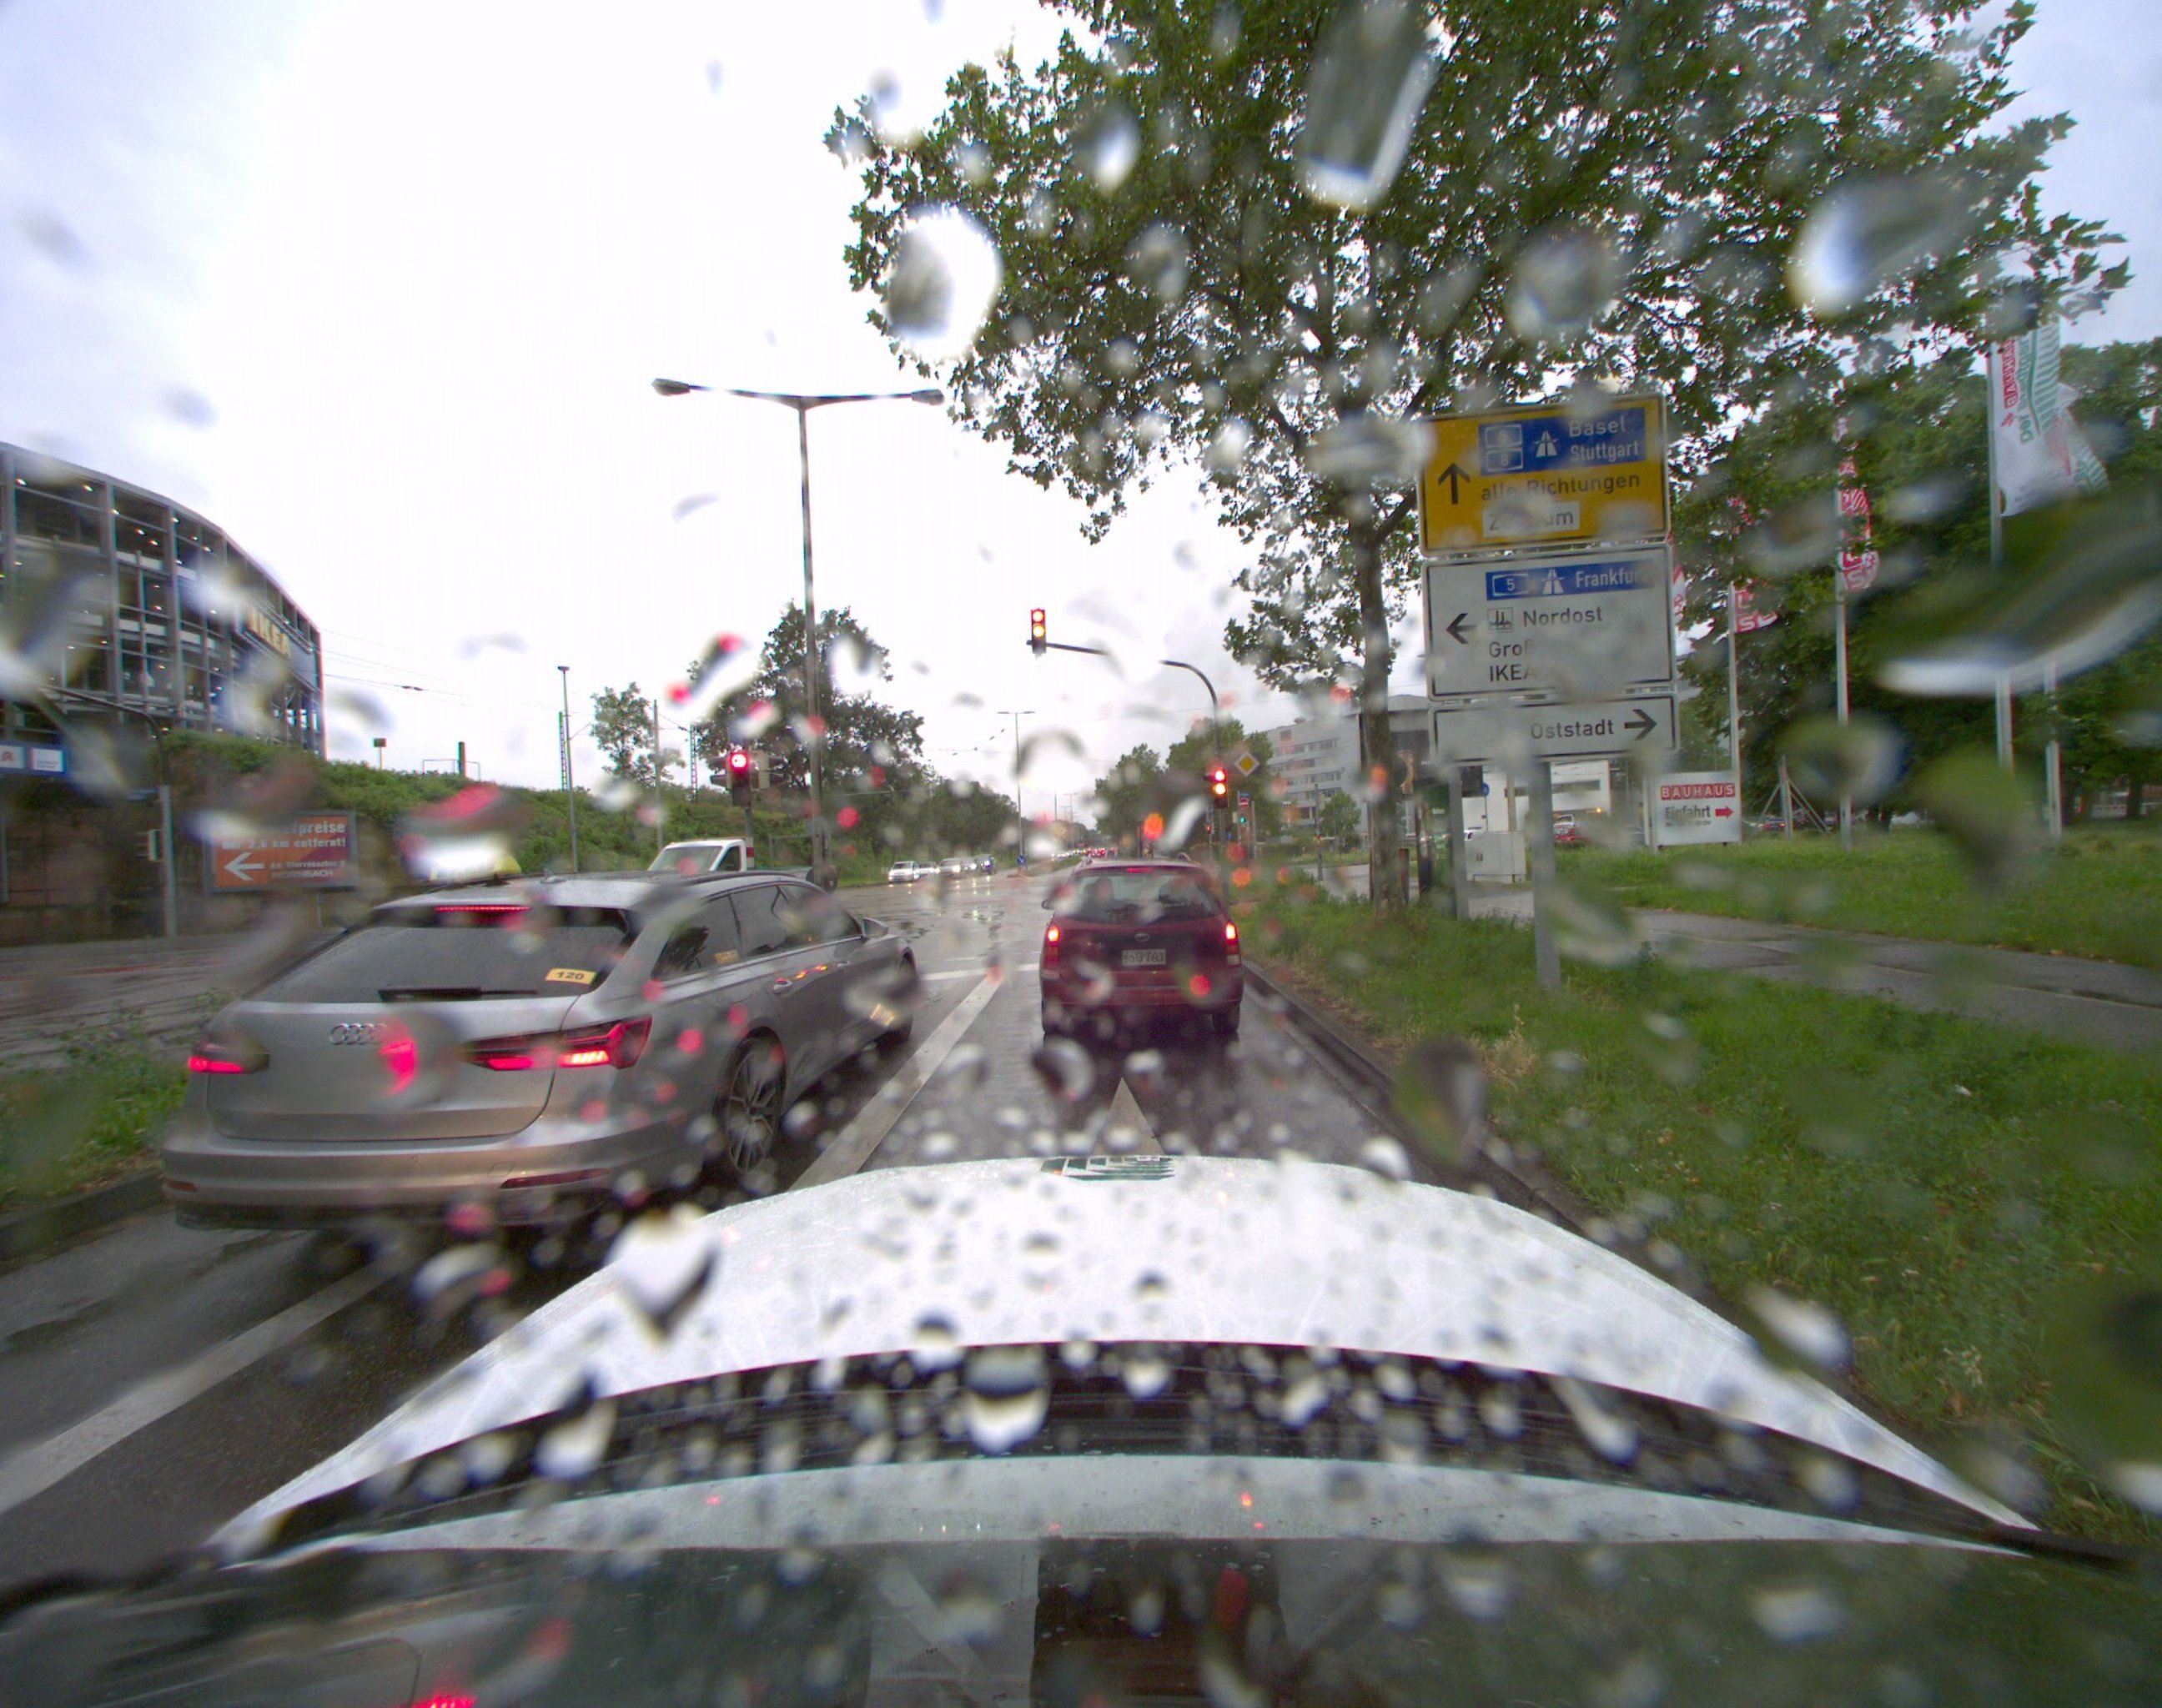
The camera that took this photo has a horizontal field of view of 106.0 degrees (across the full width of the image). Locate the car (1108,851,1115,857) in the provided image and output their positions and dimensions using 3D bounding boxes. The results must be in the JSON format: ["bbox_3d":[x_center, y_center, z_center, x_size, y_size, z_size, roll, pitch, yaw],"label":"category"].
[{"bbox_3d":[7.423,0.030,196.823,1.664,1.528,3.849,-3,0,3],"label":"car"}]

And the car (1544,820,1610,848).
[{"bbox_3d":[29.032,-1.173,47.644,3.828,1.491,1.662,-2,0,-30],"label":"car"}]

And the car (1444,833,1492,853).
[{"bbox_3d":[33.967,-0.963,71.428,4.257,1.726,1.725,-1,0,-30],"label":"car"}]

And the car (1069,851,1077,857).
[{"bbox_3d":[-2.255,-0.019,220.928,1.955,1.702,4.286,-3,0,2],"label":"car"}]

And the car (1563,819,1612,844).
[{"bbox_3d":[45.433,-2.035,73.048,4.709,2.125,1.978,-2,-1,-36],"label":"car"}]

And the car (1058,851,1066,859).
[{"bbox_3d":[-4.224,0.231,179.531,1.739,1.702,4.281,-4,0,-2],"label":"car"}]

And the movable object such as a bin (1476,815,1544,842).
[{"bbox_3d":[53.786,-3.179,102.179,3.342,2.995,6.650,-3,0,-34],"label":"movable object such as a bin"}]

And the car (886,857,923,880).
[{"bbox_3d":[-11.974,0.965,55.516,1.633,1.452,3.786,-3,0,0],"label":"car"}]

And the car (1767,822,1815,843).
[{"bbox_3d":[59.052,-1.784,67.722,4.645,1.586,1.907,-2,-1,-34],"label":"car"}]

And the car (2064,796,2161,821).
[{"bbox_3d":[88.548,-3.901,69.320,2.286,1.731,5.899,-3,0,-33],"label":"car"}]

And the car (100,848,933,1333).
[{"bbox_3d":[-2.285,0.761,5.078,1.763,1.574,4.822,0,0,1],"label":"car"}]

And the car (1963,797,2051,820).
[{"bbox_3d":[78.440,-3.850,69.075,4.565,1.586,1.940,-3,-1,37],"label":"car"}]

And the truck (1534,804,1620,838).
[{"bbox_3d":[57.984,-3.829,95.396,3.342,3.507,7.806,-3,0,-33],"label":"truck"}]

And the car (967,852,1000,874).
[{"bbox_3d":[-8.579,0.751,71.837,2.058,1.819,5.542,-3,0,1],"label":"car"}]

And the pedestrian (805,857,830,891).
[{"bbox_3d":[-14.944,1.100,46.229,1.102,1.847,1.126,-3,0,-10],"label":"pedestrian"}]

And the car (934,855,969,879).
[{"bbox_3d":[-8.940,0.867,56.549,1.632,1.473,3.966,-3,0,1],"label":"car"}]

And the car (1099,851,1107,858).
[{"bbox_3d":[5.212,0.072,194.308,1.691,1.528,3.849,-3,0,3],"label":"car"}]

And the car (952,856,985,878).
[{"bbox_3d":[-8.736,0.996,63.467,1.756,1.586,4.813,-3,-1,0],"label":"car"}]

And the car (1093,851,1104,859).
[{"bbox_3d":[3.672,0.220,172.000,2.138,1.528,4.197,-3,0,4],"label":"car"}]

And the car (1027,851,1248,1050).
[{"bbox_3d":[0.449,0.713,7.936,1.636,1.465,3.733,0,0,1],"label":"car"}]

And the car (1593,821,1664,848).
[{"bbox_3d":[34.888,-1.255,51.827,4.847,1.491,1.908,-2,0,-32],"label":"car"}]

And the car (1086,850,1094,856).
[{"bbox_3d":[2.179,-0.274,202.909,1.691,1.528,3.849,-3,0,3],"label":"car"}]

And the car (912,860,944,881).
[{"bbox_3d":[-11.566,1.216,61.896,1.585,1.404,3.823,-3,0,1],"label":"car"}]

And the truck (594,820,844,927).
[{"bbox_3d":[-9.335,0.422,22.058,2.457,2.365,6.892,-3,0,13],"label":"truck"}]
